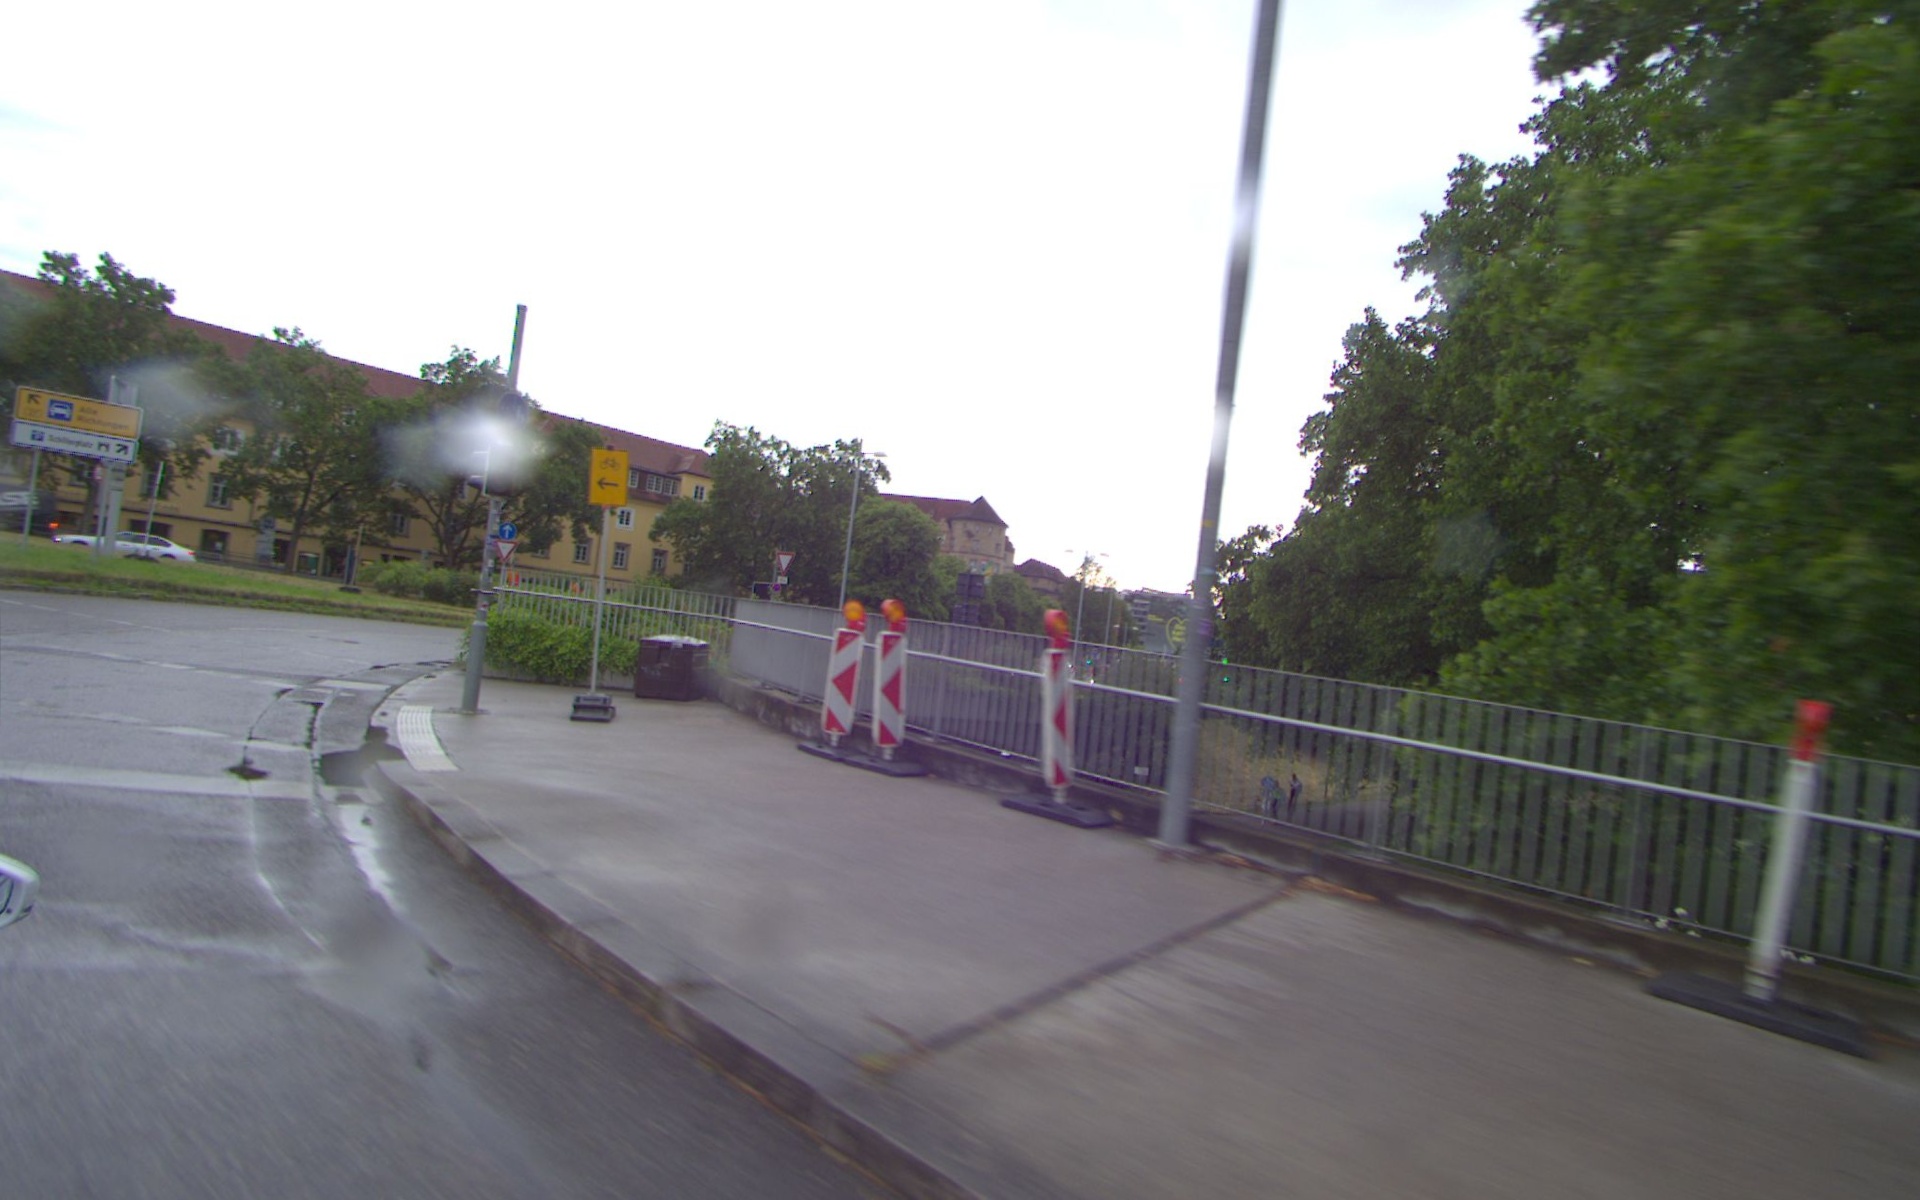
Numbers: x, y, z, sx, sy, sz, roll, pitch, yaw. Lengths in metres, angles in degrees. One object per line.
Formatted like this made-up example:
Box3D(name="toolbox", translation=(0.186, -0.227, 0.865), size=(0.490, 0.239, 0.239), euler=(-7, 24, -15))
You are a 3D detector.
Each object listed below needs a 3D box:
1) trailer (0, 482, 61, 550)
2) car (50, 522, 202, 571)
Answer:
Box3D(name="trailer", translation=(-37.041, -3.364, 37.238), size=(5.440, 2.283, 1.977), euler=(7, -3, -42))
Box3D(name="car", translation=(-38.774, -2.446, 46.883), size=(1.538, 1.376, 5.277), euler=(4, -5, 45))
